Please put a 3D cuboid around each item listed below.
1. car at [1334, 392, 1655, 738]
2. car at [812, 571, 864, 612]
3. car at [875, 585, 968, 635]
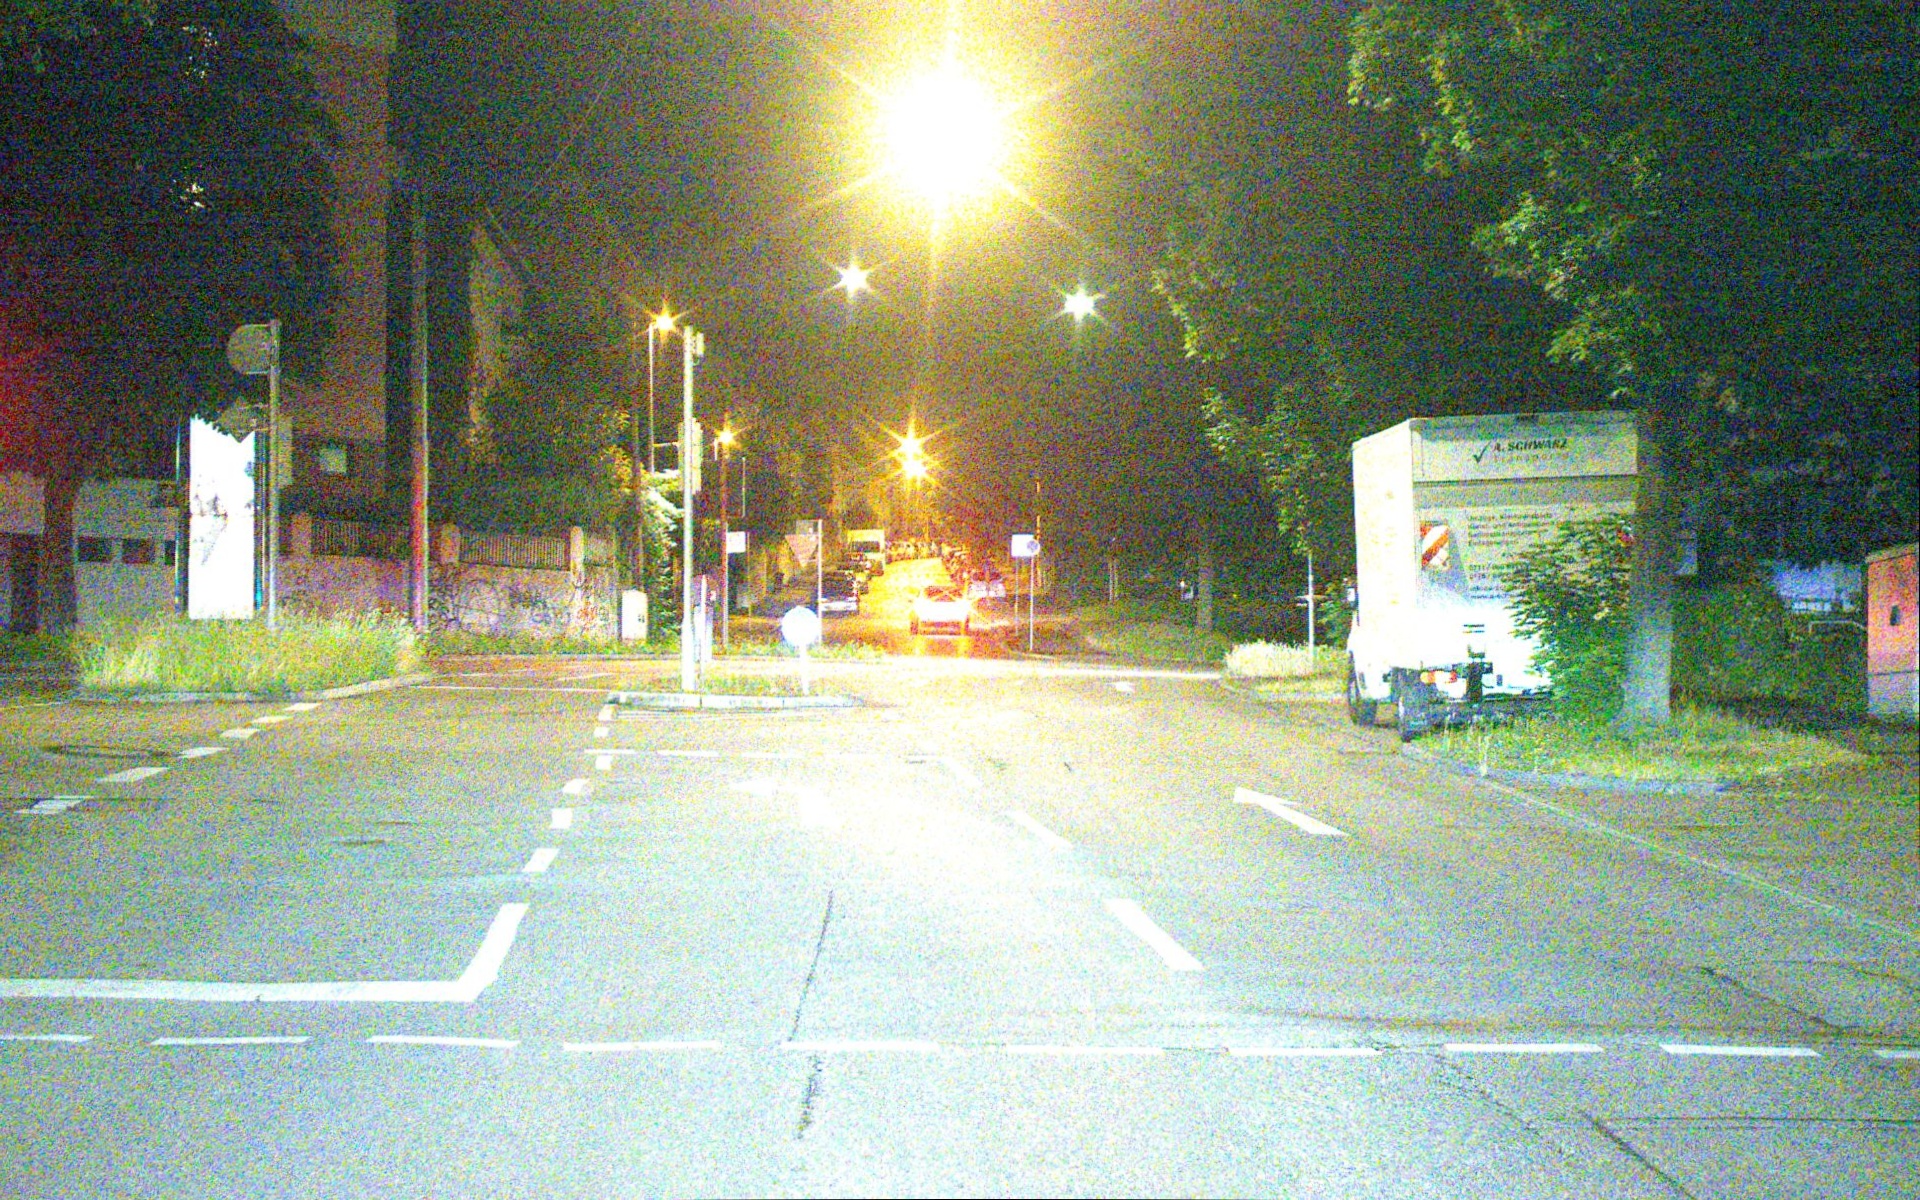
[{"bbox_3d":[5.143,-0.327,33.975,2.297,3.082,5.840,-1,0,1],"label":"car"},{"bbox_3d":[-4.759,-0.321,134.127,1.908,1.552,3.904,1,0,-1],"label":"car"},{"bbox_3d":[-1.217,0.283,105.975,1.775,1.481,4.001,1,0,-17],"label":"car"}]
